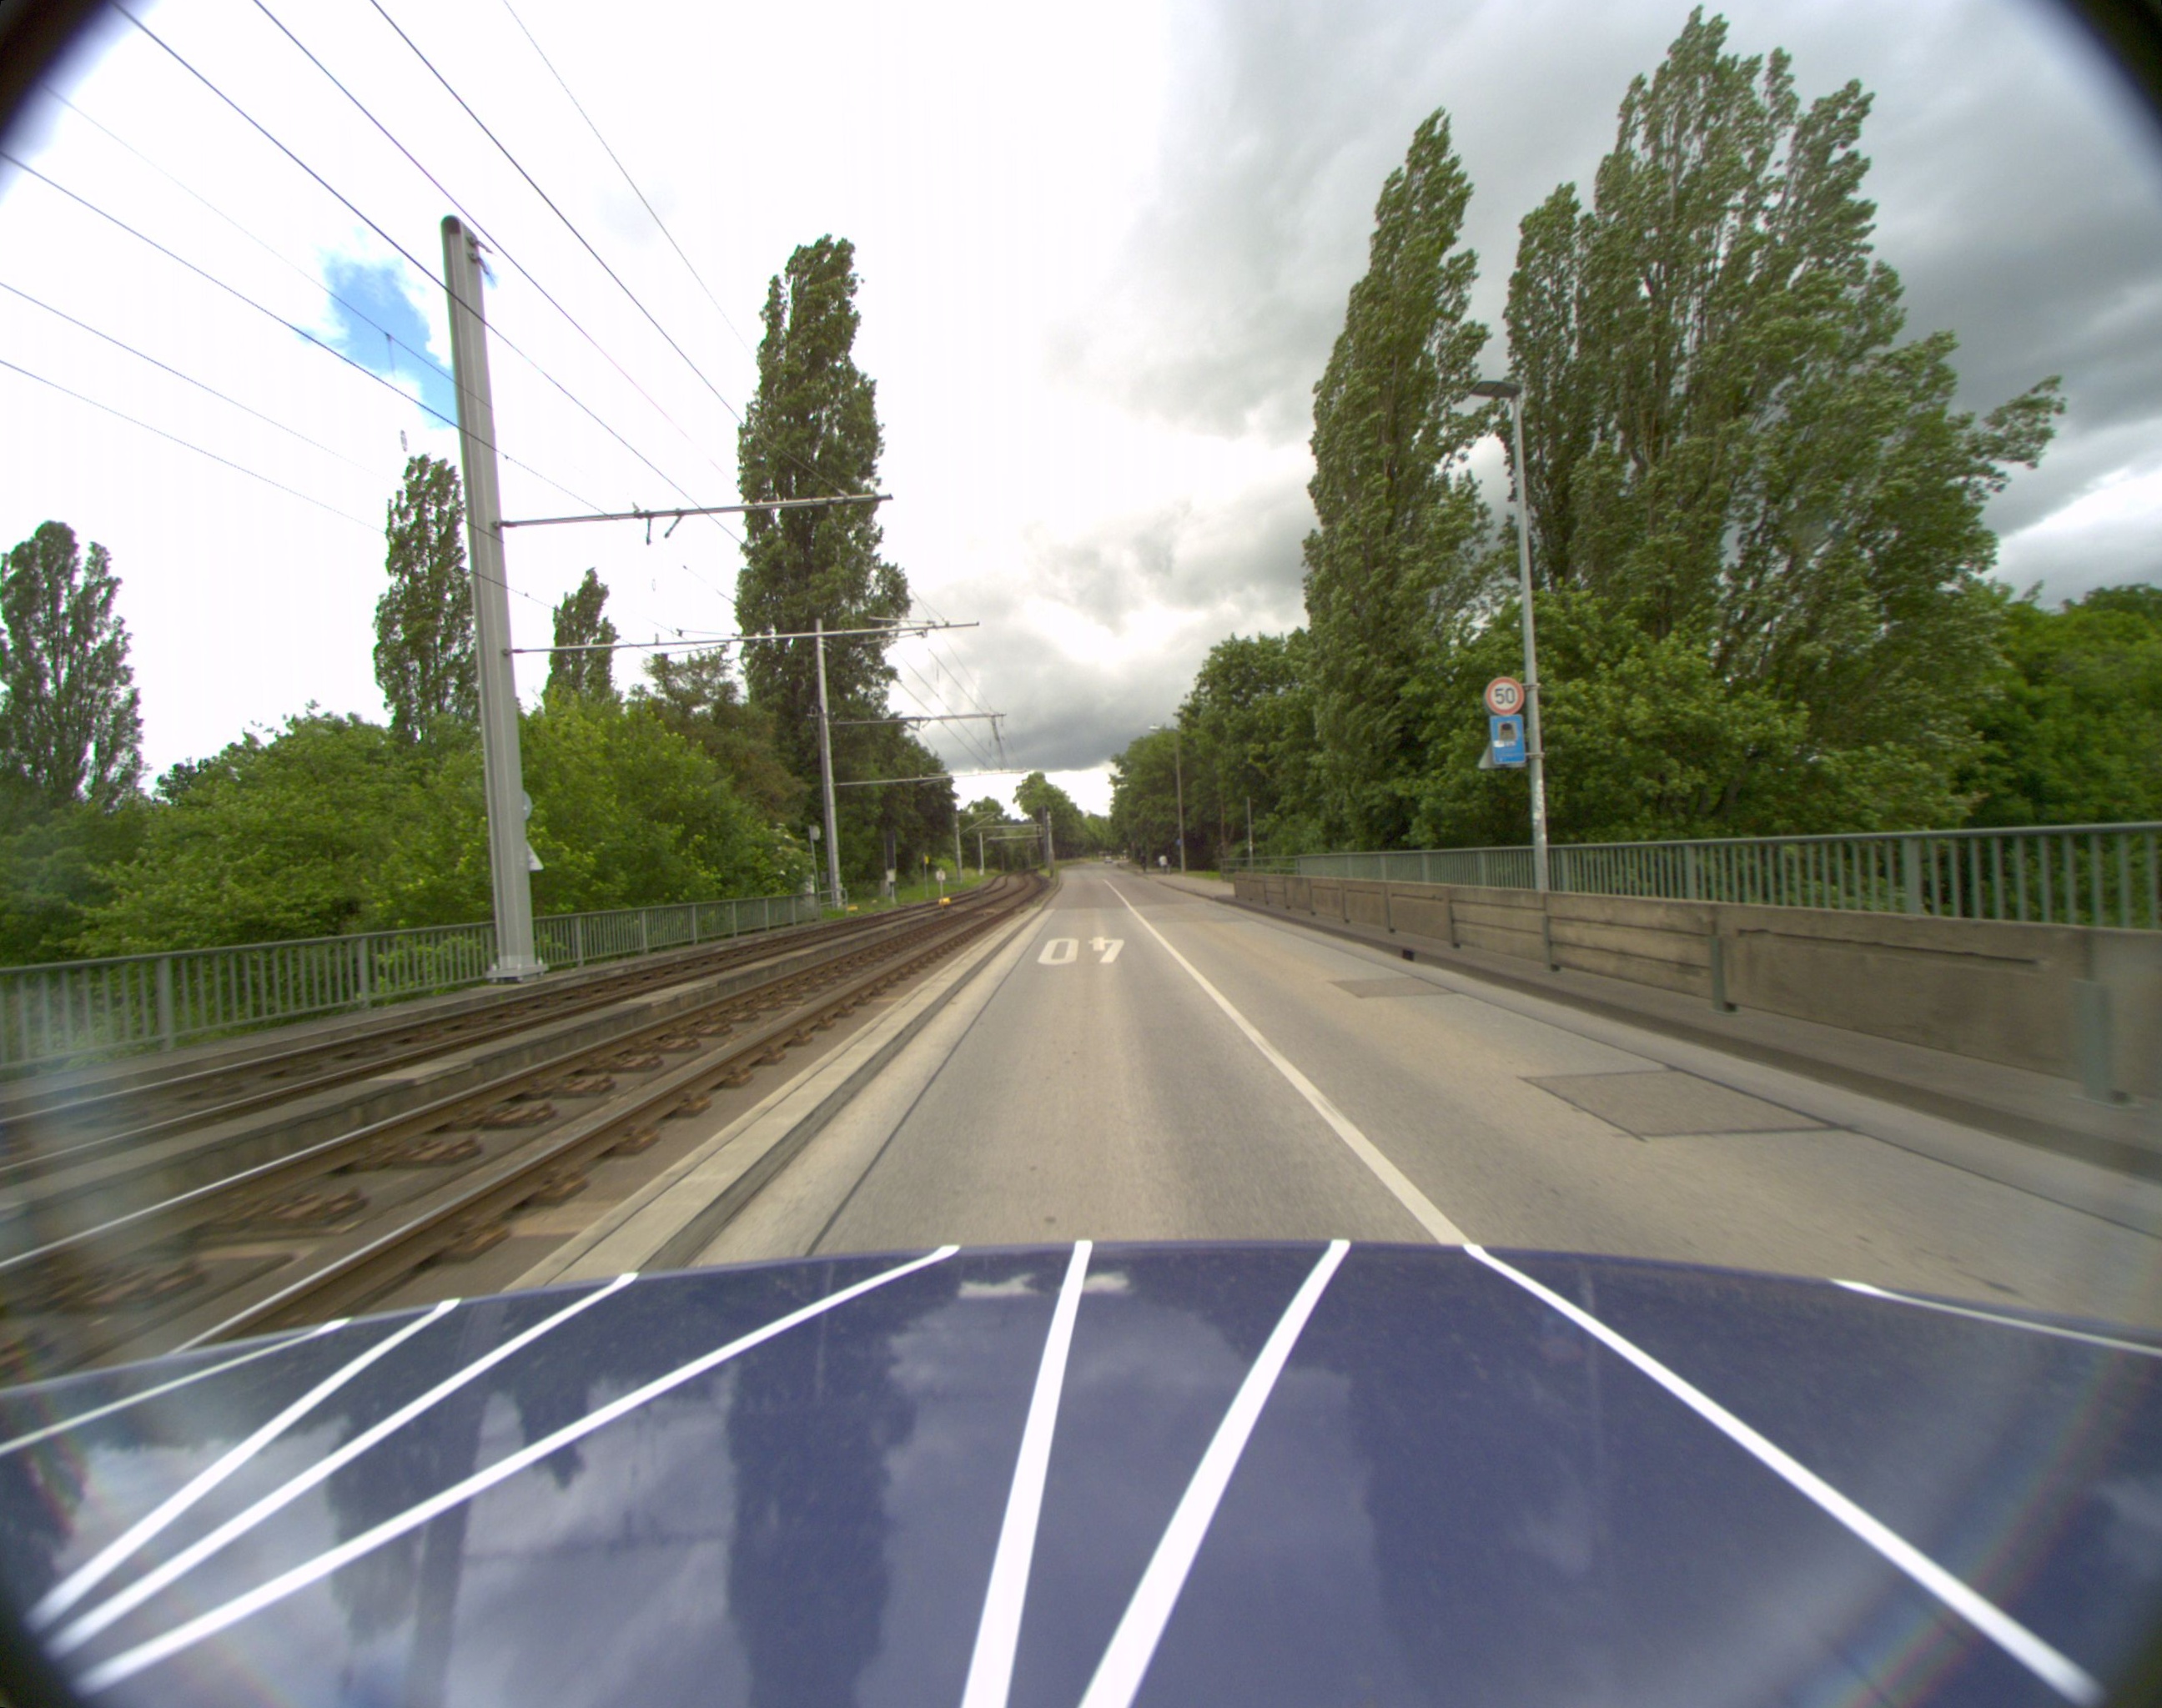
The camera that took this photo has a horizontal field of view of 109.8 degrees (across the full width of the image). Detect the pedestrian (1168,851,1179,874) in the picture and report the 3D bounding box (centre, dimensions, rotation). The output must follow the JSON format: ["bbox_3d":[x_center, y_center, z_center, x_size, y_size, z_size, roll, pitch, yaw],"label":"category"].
[{"bbox_3d":[7.316,0.662,59.927,0.588,1.792,0.822,-5,0,-1],"label":"pedestrian"}]

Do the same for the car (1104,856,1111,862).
[{"bbox_3d":[6.620,1.285,190.054,1.799,1.483,4.180,-1,0,0],"label":"car"}]

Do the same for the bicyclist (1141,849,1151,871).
[{"bbox_3d":[6.180,0.569,71.937,0.688,1.936,0.835,-4,0,-4],"label":"bicyclist"}]

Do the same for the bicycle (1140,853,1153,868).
[{"bbox_3d":[6.185,0.577,71.815,0.700,1.324,2.279,-5,2,-4],"label":"bicycle"}]

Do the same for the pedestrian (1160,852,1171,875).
[{"bbox_3d":[6.666,0.763,59.850,0.552,1.755,0.858,-7,0,-1],"label":"pedestrian"}]
